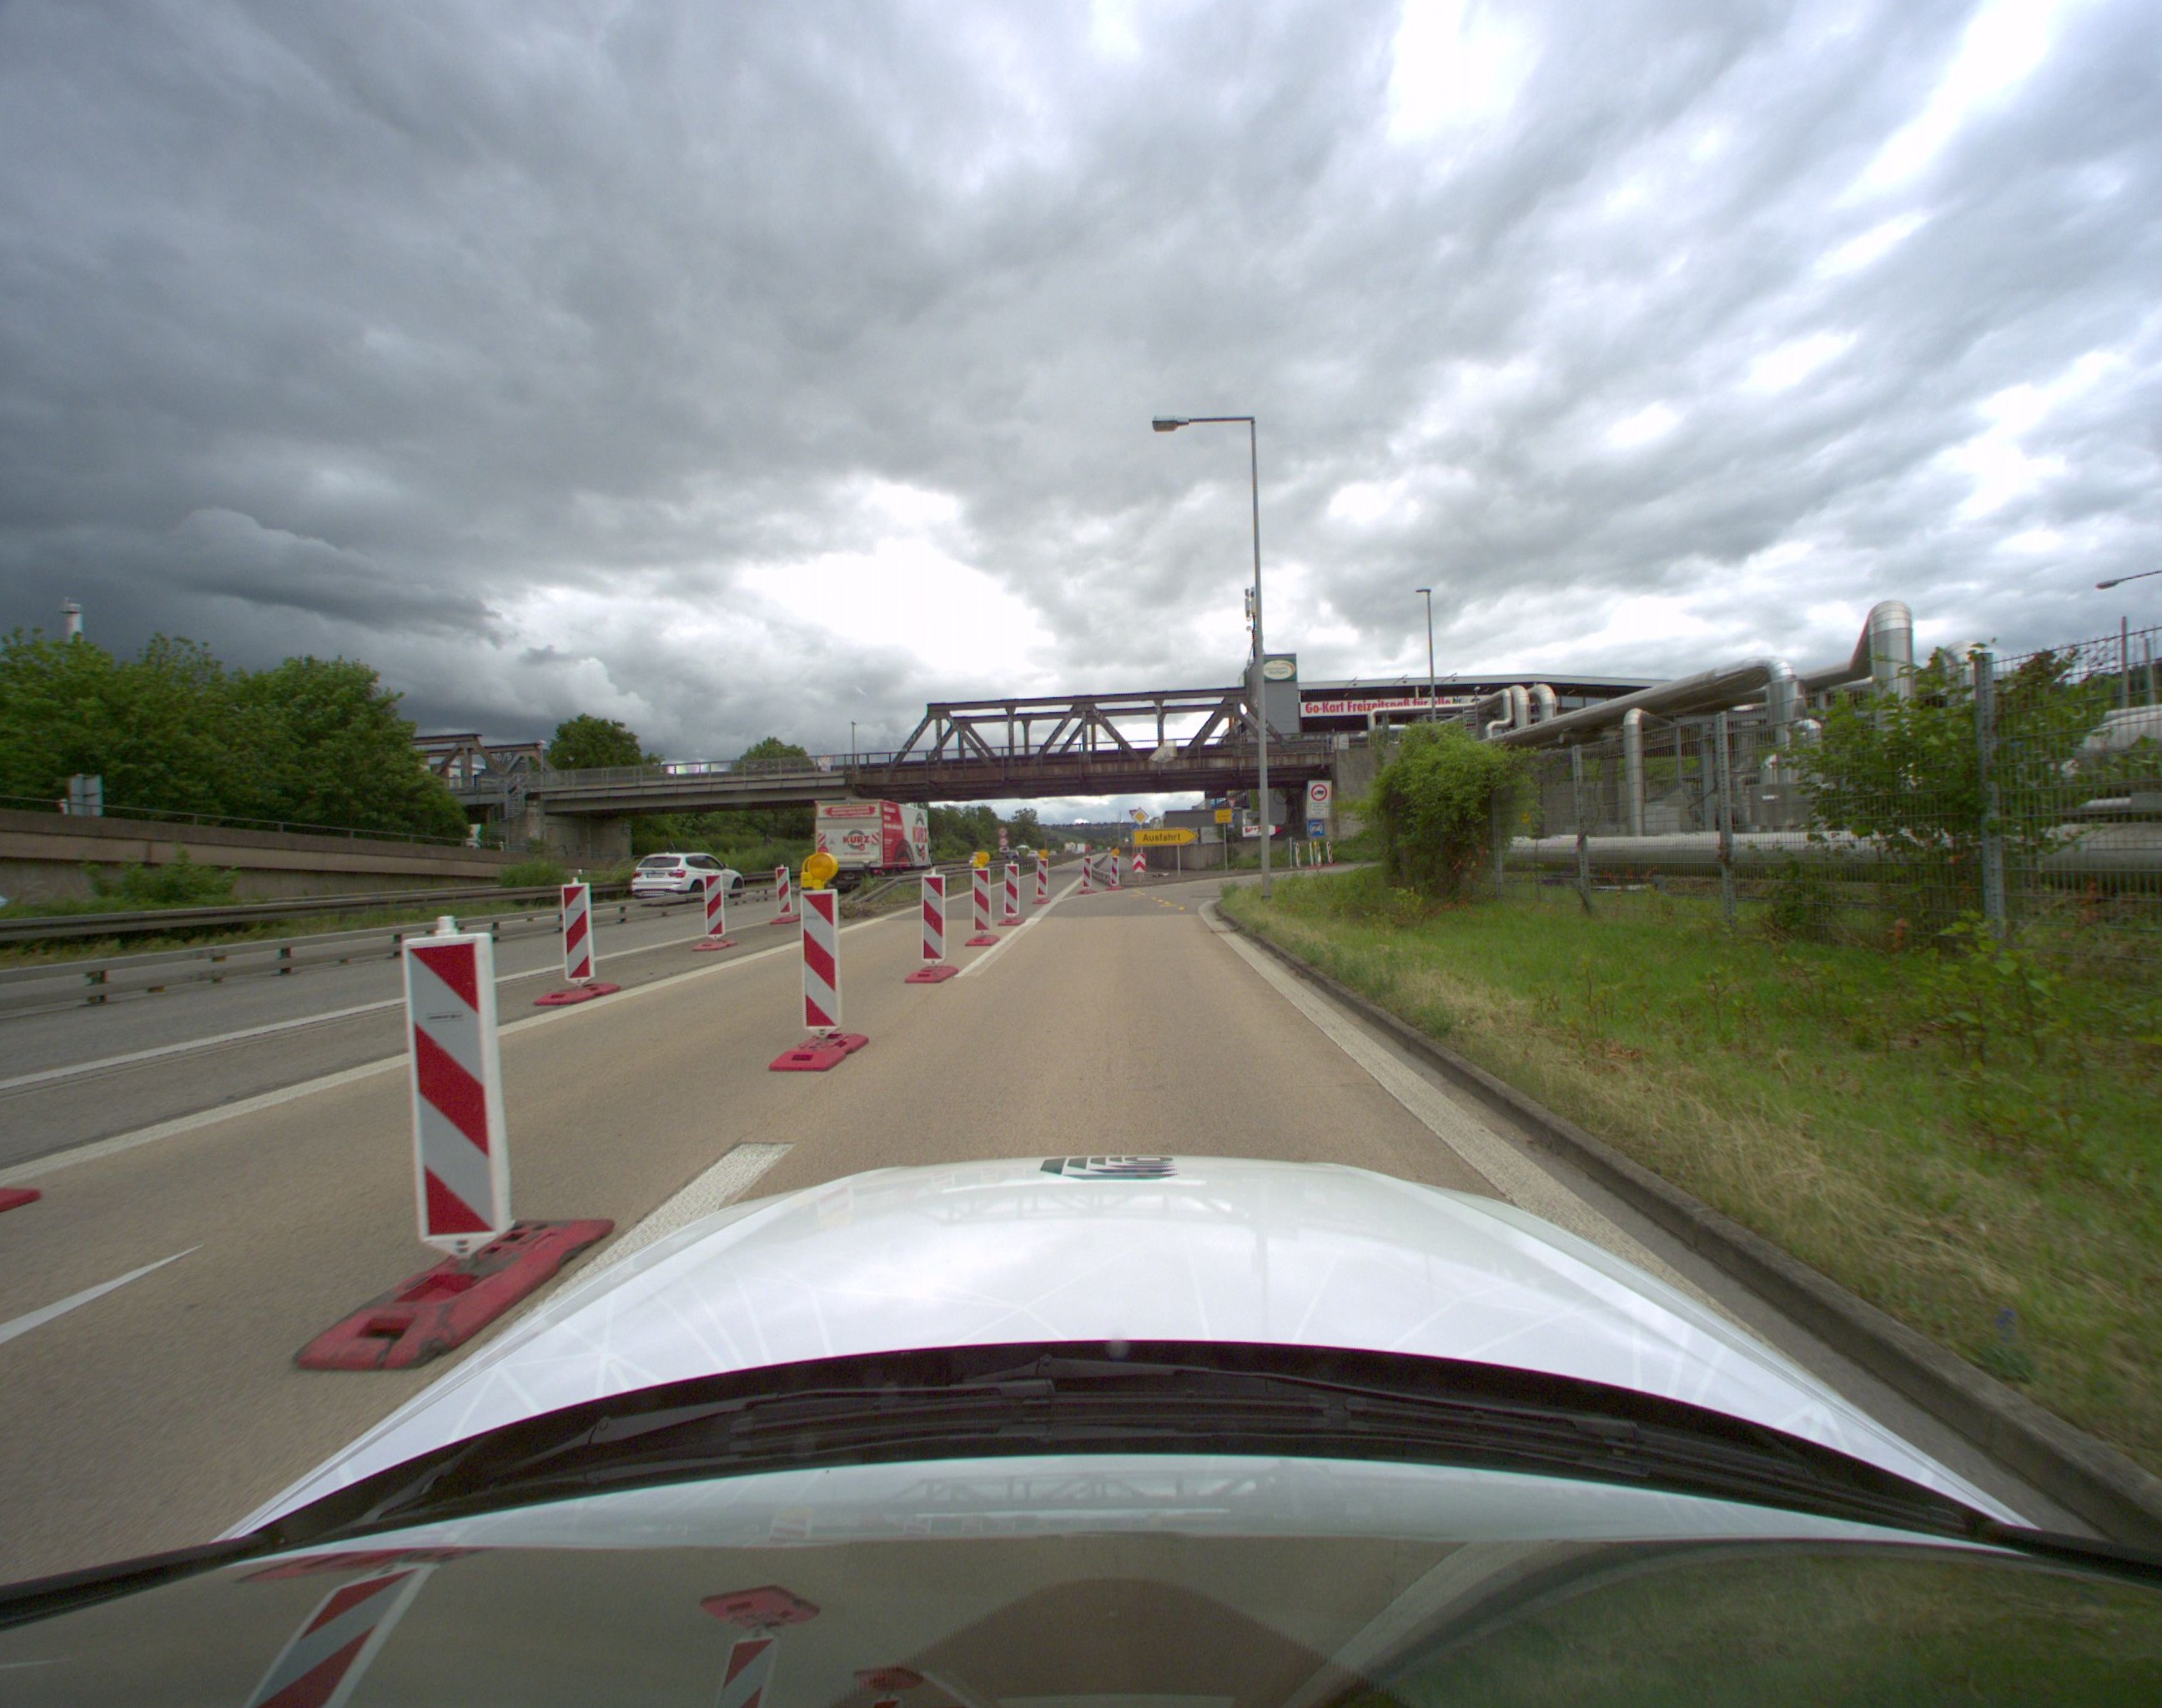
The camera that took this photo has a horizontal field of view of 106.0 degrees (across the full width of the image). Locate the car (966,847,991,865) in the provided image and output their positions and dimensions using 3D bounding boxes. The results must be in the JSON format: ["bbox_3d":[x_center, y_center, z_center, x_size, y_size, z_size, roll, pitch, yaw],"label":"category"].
[{"bbox_3d":[-10.508,0.224,83.583,1.987,1.759,3.999,-3,0,0],"label":"car"}]

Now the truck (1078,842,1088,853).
[{"bbox_3d":[0.642,-1.888,243.182,2.670,3.140,6.137,-1,0,3],"label":"truck"}]

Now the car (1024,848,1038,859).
[{"bbox_3d":[-8.304,-0.101,135.998,1.987,1.815,4.000,-1,0,1],"label":"car"}]

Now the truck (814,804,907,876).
[{"bbox_3d":[-12.044,-0.698,45.319,2.985,3.556,7.738,-3,0,-1],"label":"truck"}]

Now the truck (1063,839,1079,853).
[{"bbox_3d":[-2.626,-2.143,223.650,3.705,3.645,7.734,-1,0,3],"label":"truck"}]

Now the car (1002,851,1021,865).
[{"bbox_3d":[-9.230,0.550,108.402,1.986,1.759,4.001,-3,0,1],"label":"car"}]

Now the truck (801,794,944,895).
[{"bbox_3d":[-8.508,-0.381,34.928,2.941,3.629,10.162,-1,0,3],"label":"truck"}]

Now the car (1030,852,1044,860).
[{"bbox_3d":[-7.698,0.368,144.010,1.966,1.414,4.602,-3,0,2],"label":"car"}]

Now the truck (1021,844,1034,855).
[{"bbox_3d":[-14.379,-1.173,219.166,2.484,2.846,7.265,-1,0,6],"label":"truck"}]

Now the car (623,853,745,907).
[{"bbox_3d":[-13.040,0.790,27.075,1.847,1.640,4.293,-1,0,1],"label":"car"}]

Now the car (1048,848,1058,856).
[{"bbox_3d":[-6.137,-0.492,176.321,1.772,1.596,3.752,-1,0,3],"label":"car"}]

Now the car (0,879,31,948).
[{"bbox_3d":[-23.784,1.304,15.689,1.883,1.452,3.979,-3,0,0],"label":"car"}]
